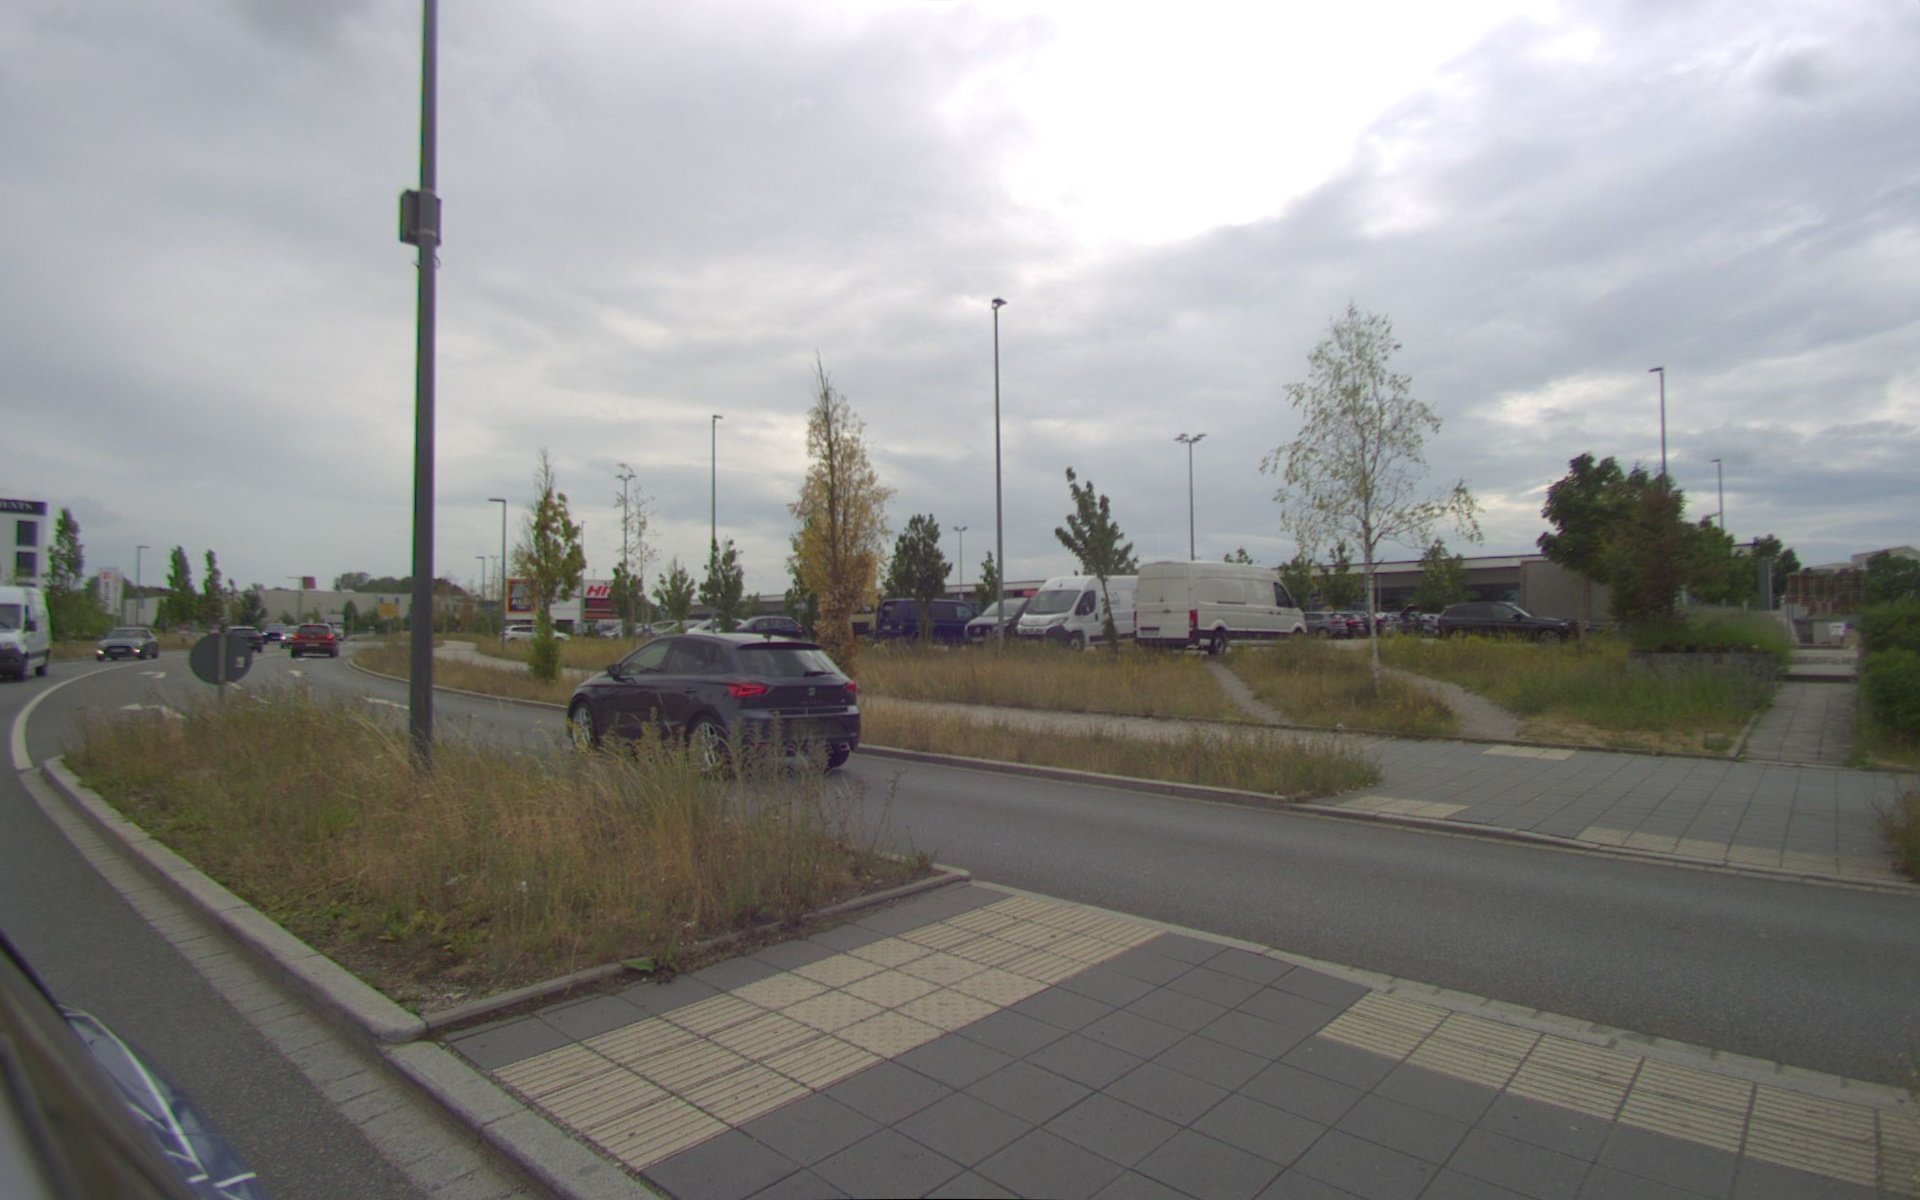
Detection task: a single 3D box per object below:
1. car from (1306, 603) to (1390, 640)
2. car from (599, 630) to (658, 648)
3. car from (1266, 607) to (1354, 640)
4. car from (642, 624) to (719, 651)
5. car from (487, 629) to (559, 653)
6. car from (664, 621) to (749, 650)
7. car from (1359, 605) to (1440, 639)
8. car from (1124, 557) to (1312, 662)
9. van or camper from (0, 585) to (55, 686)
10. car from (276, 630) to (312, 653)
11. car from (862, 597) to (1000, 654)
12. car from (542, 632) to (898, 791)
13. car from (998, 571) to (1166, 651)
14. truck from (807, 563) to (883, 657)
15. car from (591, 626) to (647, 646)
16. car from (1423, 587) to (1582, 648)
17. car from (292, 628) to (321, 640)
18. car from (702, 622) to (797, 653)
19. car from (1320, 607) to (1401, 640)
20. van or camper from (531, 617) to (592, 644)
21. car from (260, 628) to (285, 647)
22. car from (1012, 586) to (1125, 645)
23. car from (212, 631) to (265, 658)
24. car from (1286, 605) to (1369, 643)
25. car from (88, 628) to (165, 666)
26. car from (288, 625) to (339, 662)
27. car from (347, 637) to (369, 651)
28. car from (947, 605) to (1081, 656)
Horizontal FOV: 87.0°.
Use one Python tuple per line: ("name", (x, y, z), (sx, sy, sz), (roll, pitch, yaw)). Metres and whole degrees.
("car", (22.156, 1.233, 57.875), (1.968, 2.029, 4.007), (1, -2, -40))
("car", (-26.724, 3.141, 81.541), (4.258, 1.468, 2.017), (1, -3, -28))
("car", (18.569, 1.247, 53.711), (3.995, 1.684, 1.974), (-2, -2, 39))
("car", (-16.904, 2.242, 61.150), (4.182, 1.525, 2.052), (0, -2, -26))
("car", (-27.758, 2.614, 64.341), (4.120, 1.480, 1.892), (1, -2, -25))
("car", (-14.151, 1.990, 56.615), (4.191, 1.571, 1.994), (1, -3, -36))
("car", (26.480, 1.356, 61.098), (1.966, 2.029, 4.011), (1, -2, -33))
("car", (7.408, 0.310, 28.527), (2.244, 2.618, 6.335), (-2, -2, 44))
("van or camper", (-27.126, 1.009, 28.142), (2.228, 2.636, 5.710), (1, -3, -35))
("car", (-44.130, 2.751, 67.136), (1.678, 1.449, 4.045), (1, -3, -29))
("car", (-1.040, 0.963, 37.981), (4.838, 2.005, 2.183), (1, -2, -38))
("car", (-2.735, 1.092, 11.078), (3.999, 1.418, 1.821), (-2, -4, 42))
("car", (4.001, 0.389, 32.232), (2.211, 2.324, 6.001), (-2, -2, 43))
("truck", (-5.049, 0.496, 43.015), (2.813, 3.568, 8.445), (0, -2, -9))
("car", (-28.972, 3.077, 86.069), (4.240, 1.667, 2.087), (1, -3, -29))
("car", (19.232, 0.654, 35.975), (4.637, 2.048, 1.972), (-2, -3, 42))
("car", (-112.788, 5.902, 174.674), (1.633, 2.029, 3.967), (-1, -2, 24))
("car", (-10.401, 1.857, 49.988), (4.174, 1.446, 2.003), (1, -3, -33))
("car", (23.668, 1.410, 59.964), (1.968, 1.912, 4.007), (1, -2, -40))
("van or camper", (-43.229, 3.313, 109.954), (5.774, 2.821, 2.248), (1, -2, -36))
("car", (-58.975, 3.221, 86.811), (1.728, 1.597, 4.011), (0, -2, -33))
("car", (5.202, 0.798, 48.838), (5.138, 2.711, 2.038), (-2, -3, 38))
("car", (-39.417, 2.400, 55.253), (1.807, 1.431, 4.250), (1, -2, -43))
("car", (20.275, 1.313, 55.943), (1.724, 2.029, 4.009), (1, -2, -36))
("car", (-37.059, 2.050, 45.096), (1.727, 1.597, 4.013), (0, -2, -26))
("car", (-31.758, 2.157, 49.687), (1.775, 1.682, 4.337), (4, -4, -36))
("car", (-74.288, 5.471, 125.018), (1.965, 1.649, 4.717), (3, -3, -27))
("car", (1.924, 1.034, 34.520), (1.994, 1.629, 4.850), (-2, -2, 41))
